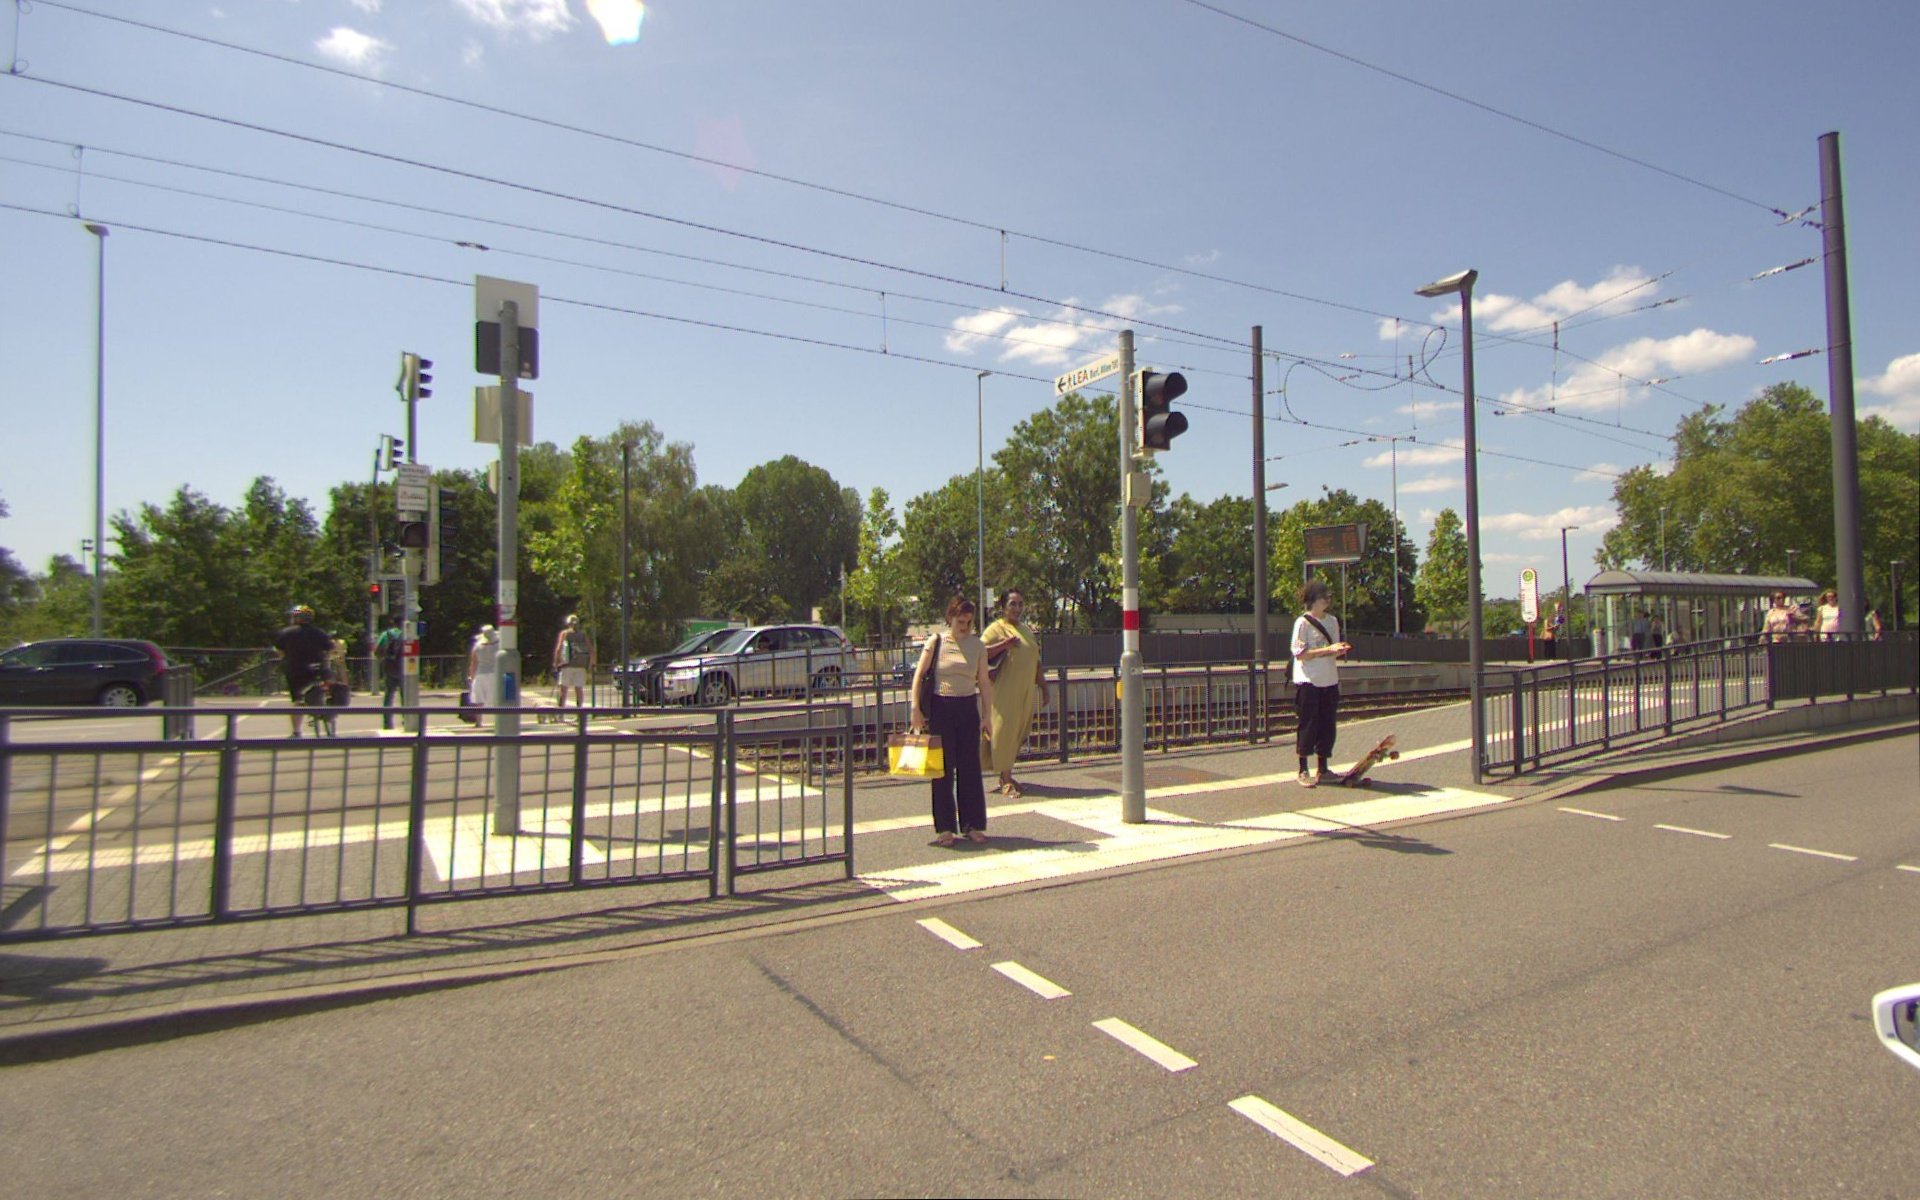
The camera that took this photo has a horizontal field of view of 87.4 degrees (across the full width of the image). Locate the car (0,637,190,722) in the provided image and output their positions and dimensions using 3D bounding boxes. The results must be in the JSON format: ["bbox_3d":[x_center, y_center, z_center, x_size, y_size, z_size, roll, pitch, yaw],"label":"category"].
[{"bbox_3d":[-19.240,1.654,21.476,4.266,1.651,1.981,1,-2,-35],"label":"car"}]

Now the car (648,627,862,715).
[{"bbox_3d":[-4.256,1.394,20.905,3.955,1.650,1.983,1,-2,-32],"label":"car"}]

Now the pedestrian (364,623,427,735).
[{"bbox_3d":[-8.640,1.176,15.358,0.756,1.631,0.950,0,-1,-34],"label":"pedestrian"}]

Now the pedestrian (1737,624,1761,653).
[{"bbox_3d":[33.140,1.623,42.198,0.632,1.206,0.573,0,-2,-32],"label":"pedestrian"}]

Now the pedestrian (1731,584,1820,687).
[{"bbox_3d":[13.377,0.570,16.490,0.914,1.626,0.885,0,-1,-33],"label":"pedestrian"}]

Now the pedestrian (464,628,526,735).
[{"bbox_3d":[-7.105,1.213,15.338,0.756,1.569,0.757,0,-1,-35],"label":"pedestrian"}]

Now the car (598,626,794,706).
[{"bbox_3d":[-6.024,1.441,23.001,3.955,1.650,1.983,0,-1,-32],"label":"car"}]

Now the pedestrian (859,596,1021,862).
[{"bbox_3d":[-0.136,0.785,6.566,0.757,1.593,0.780,1,-1,-35],"label":"pedestrian"}]

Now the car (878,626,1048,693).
[{"bbox_3d":[0.107,1.550,27.171,4.232,1.650,1.983,0,-1,-32],"label":"car"}]

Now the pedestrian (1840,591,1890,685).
[{"bbox_3d":[15.597,0.649,17.311,0.551,1.598,0.494,0,-1,-34],"label":"pedestrian"}]

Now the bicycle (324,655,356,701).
[{"bbox_3d":[-17.736,2.218,28.745,0.582,1.209,1.525,0,-1,-24],"label":"bicycle"}]

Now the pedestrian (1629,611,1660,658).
[{"bbox_3d":[24.822,1.249,36.420,0.566,1.660,0.829,-1,-1,5],"label":"pedestrian"}]

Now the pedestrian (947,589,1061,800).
[{"bbox_3d":[0.369,0.769,8.572,0.672,1.695,0.727,1,-1,-35],"label":"pedestrian"}]

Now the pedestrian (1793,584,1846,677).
[{"bbox_3d":[16.234,0.572,18.970,0.712,1.703,0.609,1,-1,-34],"label":"pedestrian"}]

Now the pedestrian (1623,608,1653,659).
[{"bbox_3d":[23.828,1.169,35.311,0.566,1.751,0.739,-1,-1,5],"label":"pedestrian"}]

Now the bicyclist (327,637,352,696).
[{"bbox_3d":[-17.577,1.867,28.477,0.537,1.631,0.584,0,-1,-26],"label":"bicyclist"}]

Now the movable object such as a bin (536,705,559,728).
[{"bbox_3d":[-6.579,1.853,16.013,0.227,0.325,0.567,1,-2,-35],"label":"movable object such as a bin"}]

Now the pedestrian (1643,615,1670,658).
[{"bbox_3d":[25.499,1.318,36.773,0.632,1.553,0.573,0,-2,-32],"label":"pedestrian"}]

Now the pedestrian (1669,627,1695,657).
[{"bbox_3d":[27.098,1.578,37.720,0.632,1.109,0.573,0,-2,-32],"label":"pedestrian"}]

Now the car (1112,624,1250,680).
[{"bbox_3d":[6.910,1.575,31.369,3.955,1.650,1.983,1,-1,-32],"label":"car"}]

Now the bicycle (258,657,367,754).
[{"bbox_3d":[-8.614,1.350,13.329,1.950,1.115,0.760,0,-1,43],"label":"bicycle"}]

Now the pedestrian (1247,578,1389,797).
[{"bbox_3d":[3.192,0.742,8.979,0.875,1.826,0.856,1,-1,-36],"label":"pedestrian"}]

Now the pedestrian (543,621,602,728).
[{"bbox_3d":[-6.379,1.197,16.536,0.756,1.694,0.757,0,-1,-35],"label":"pedestrian"}]

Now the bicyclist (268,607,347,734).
[{"bbox_3d":[-8.724,0.920,13.435,0.656,1.636,0.729,0,-1,42],"label":"bicyclist"}]

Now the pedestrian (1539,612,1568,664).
[{"bbox_3d":[19.326,1.220,32.706,0.800,1.659,0.552,1,-1,-40],"label":"pedestrian"}]

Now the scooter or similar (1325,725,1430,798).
[{"bbox_3d":[3.631,1.394,8.758,0.453,0.512,0.721,0,-1,-35],"label":"scooter or similar"}]
